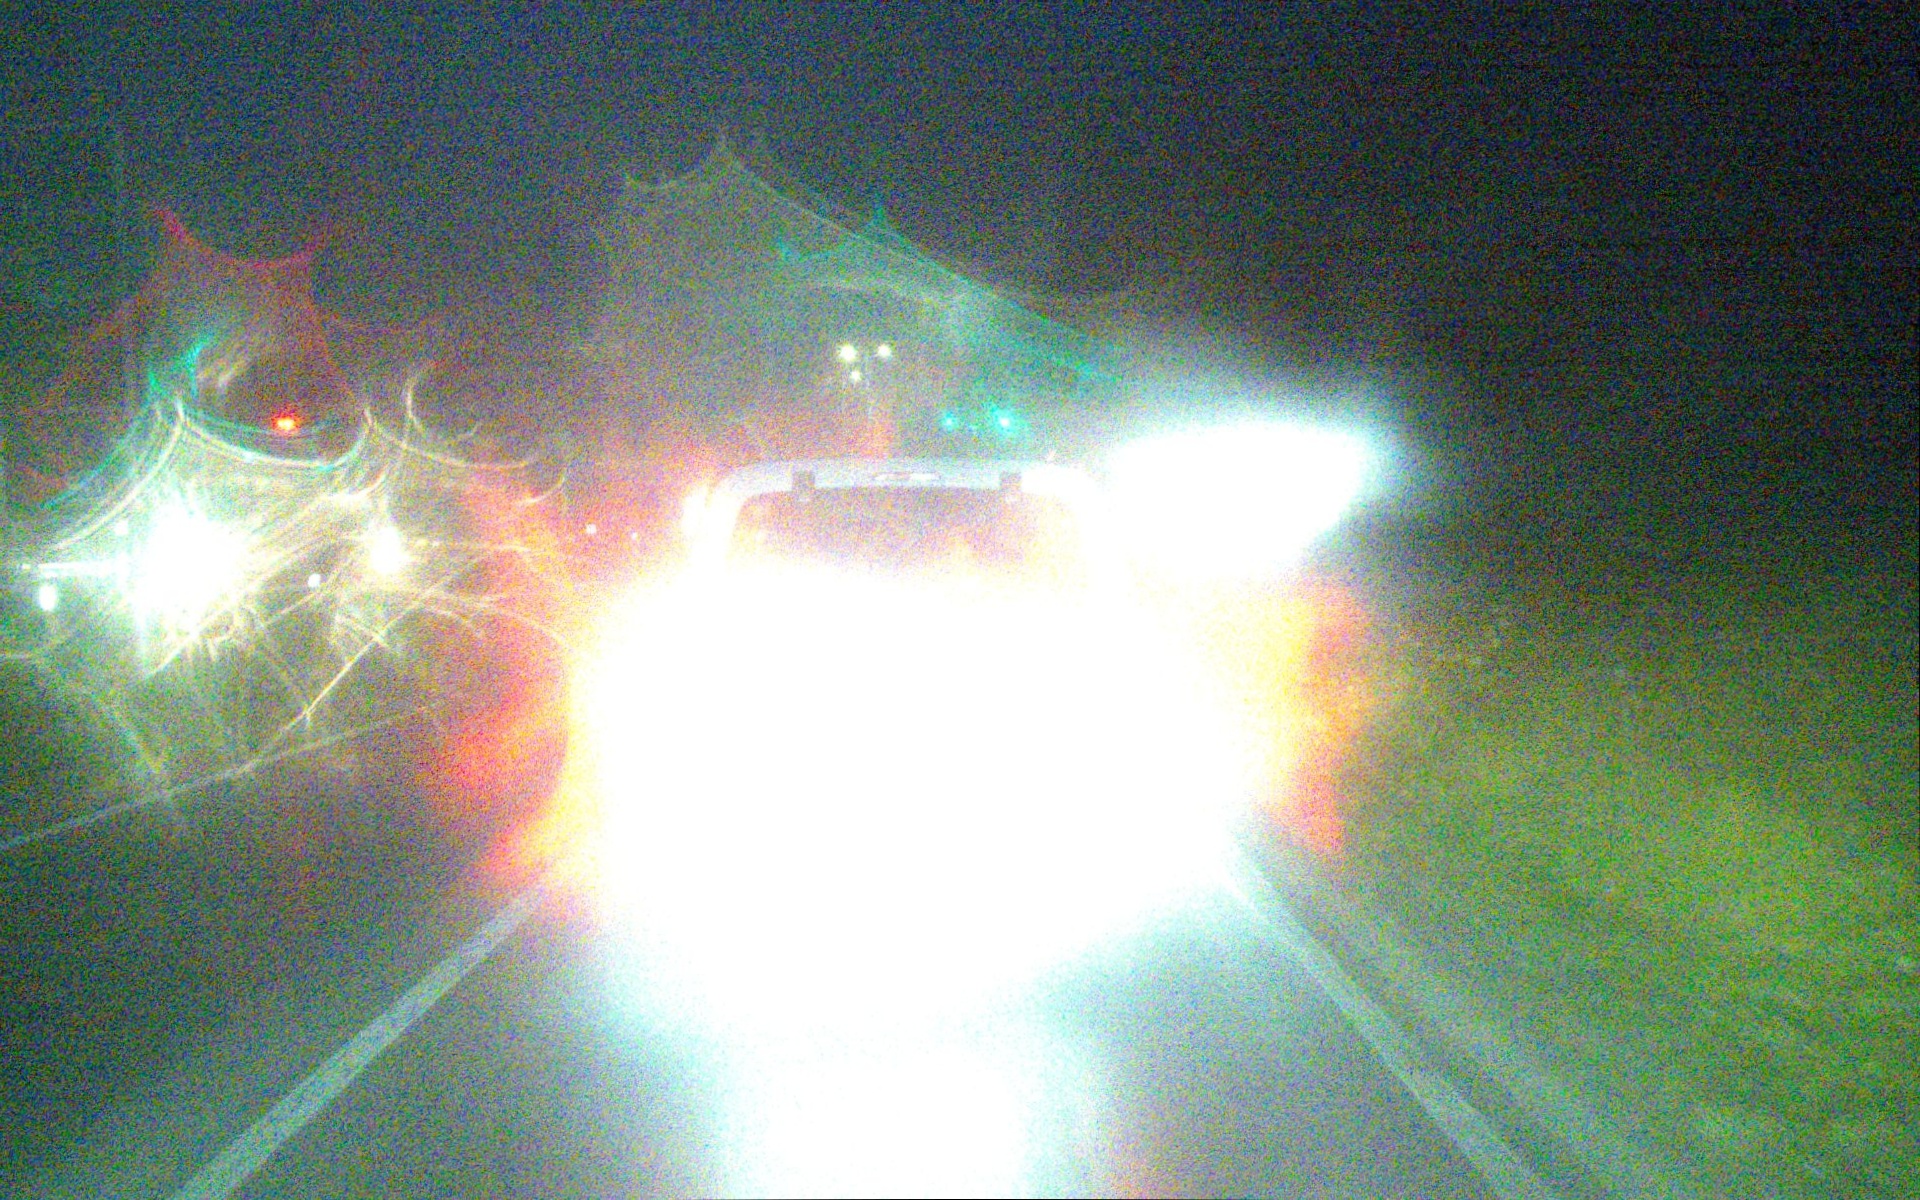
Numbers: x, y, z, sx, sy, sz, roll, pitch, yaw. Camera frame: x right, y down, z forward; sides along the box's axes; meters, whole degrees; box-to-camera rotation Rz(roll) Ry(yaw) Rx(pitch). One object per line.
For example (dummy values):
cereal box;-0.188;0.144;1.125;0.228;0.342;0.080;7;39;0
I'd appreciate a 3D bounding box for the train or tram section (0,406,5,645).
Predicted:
train or tram section;-16.356;-1.016;36.451;2.696;3.802;37.149;1;1;-1

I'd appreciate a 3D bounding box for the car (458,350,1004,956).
car;-0.991;0.116;14.249;1.791;2.015;4.581;-3;2;-5
